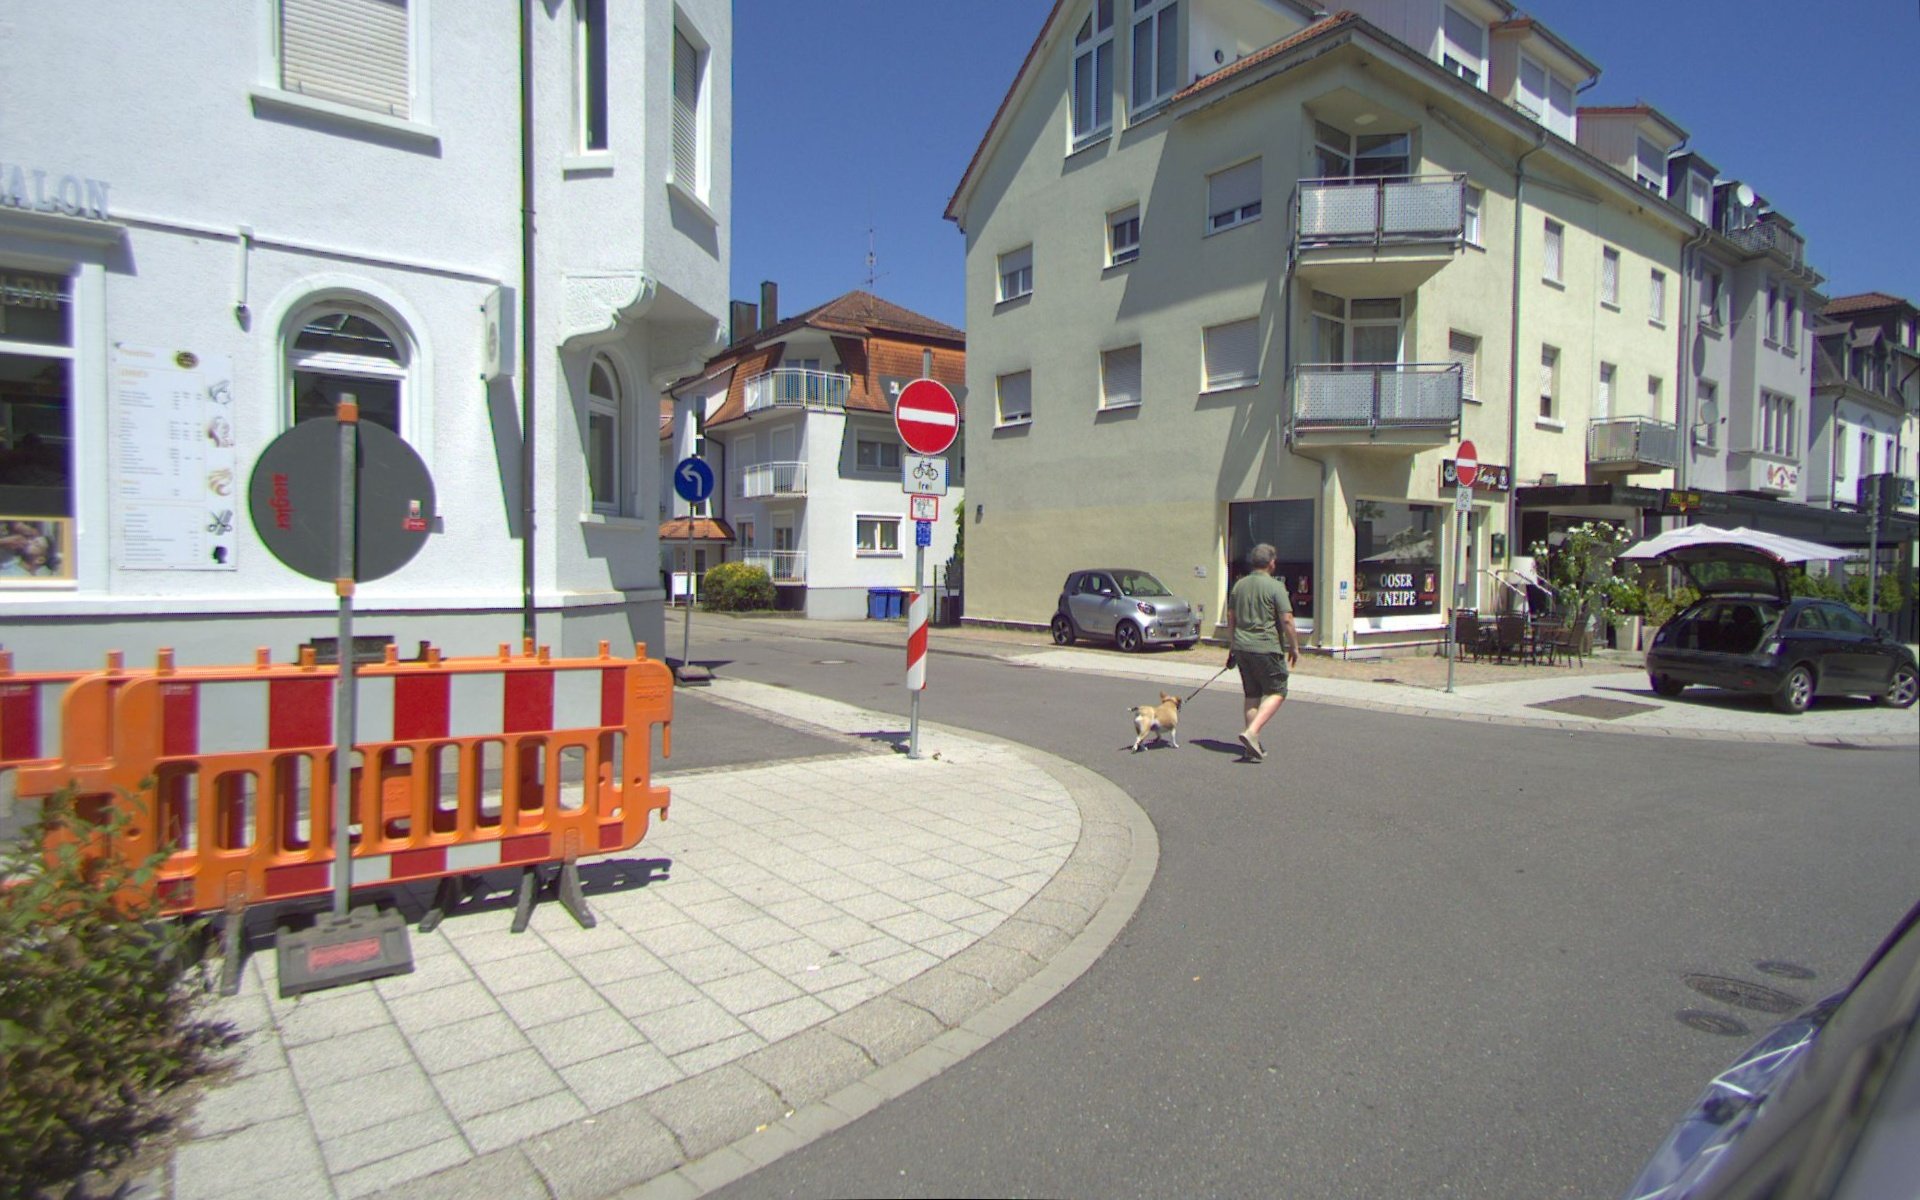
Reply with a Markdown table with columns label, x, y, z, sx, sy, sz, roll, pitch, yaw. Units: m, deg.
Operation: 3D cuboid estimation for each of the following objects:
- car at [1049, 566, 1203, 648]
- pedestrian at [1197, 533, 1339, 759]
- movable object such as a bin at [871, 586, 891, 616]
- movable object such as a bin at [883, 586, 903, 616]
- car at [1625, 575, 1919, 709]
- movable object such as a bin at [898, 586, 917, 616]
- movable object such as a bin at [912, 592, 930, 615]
| label | x | y | z | sx | sy | sz | roll | pitch | yaw |
| --- | --- | --- | --- | --- | --- | --- | --- | --- | --- |
| car | 3.193 | 0.084 | 19.781 | 1.502 | 1.489 | 2.736 | -1 | 2 | -35 |
| pedestrian | 2.622 | 0.368 | 8.654 | 0.826 | 1.819 | 0.749 | 1 | 1 | -27 |
| movable object such as a bin | -2.771 | 0.020 | 35.435 | 0.503 | 1.024 | 0.462 | 1 | 1 | -38 |
| movable object such as a bin | -2.352 | 0.033 | 35.770 | 0.508 | 1.024 | 0.462 | 1 | 1 | -38 |
| car | 11.139 | 0.503 | 13.556 | 3.780 | 1.509 | 1.883 | 1 | 3 | -23 |
| movable object such as a bin | -1.878 | 0.033 | 36.049 | 0.455 | 1.024 | 0.462 | 1 | 1 | -38 |
| movable object such as a bin | -1.405 | 0.127 | 36.352 | 0.448 | 0.783 | 0.462 | 1 | 1 | -38 |
